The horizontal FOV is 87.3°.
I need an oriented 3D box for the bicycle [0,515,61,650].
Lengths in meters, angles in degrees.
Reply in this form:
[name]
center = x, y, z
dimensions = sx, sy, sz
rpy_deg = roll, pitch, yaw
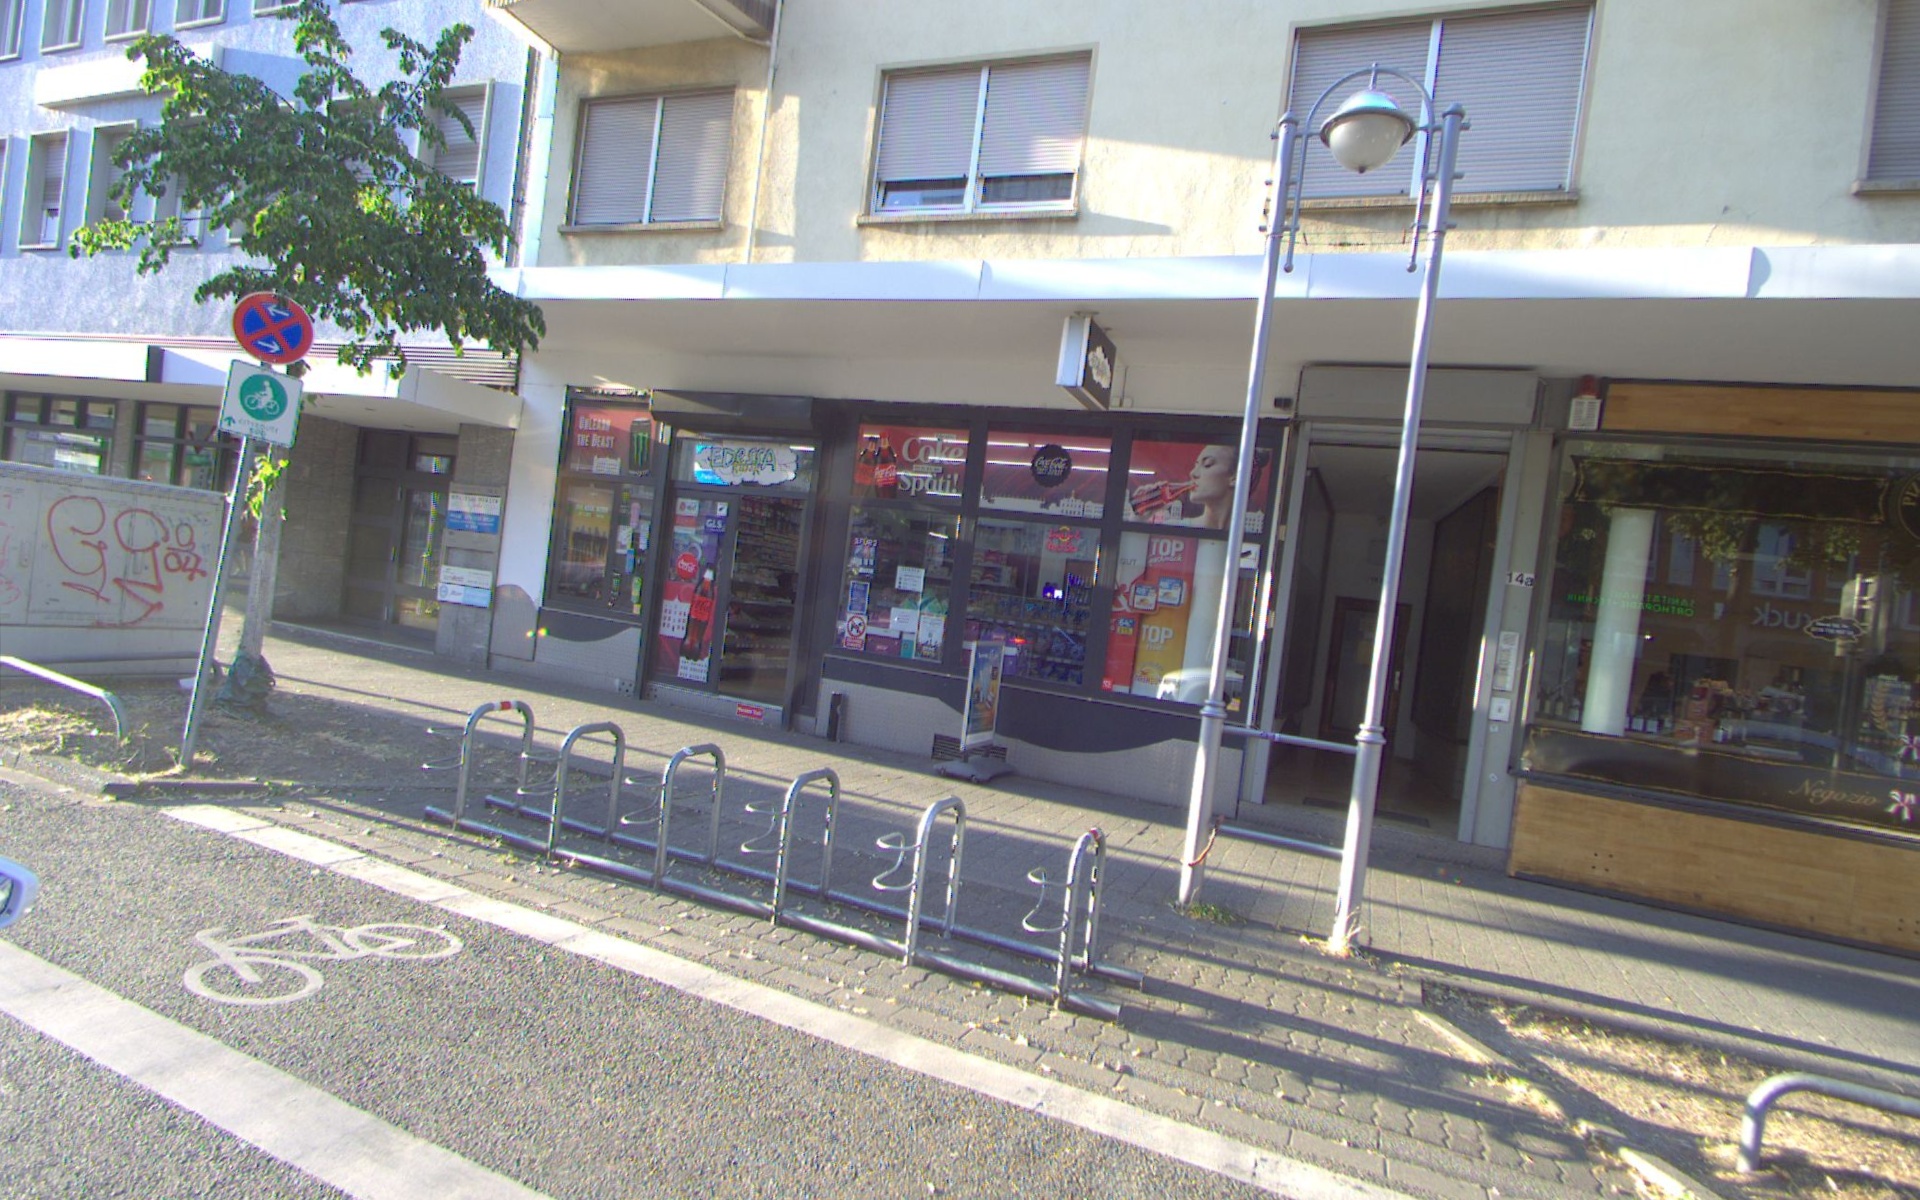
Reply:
[bicycle]
center = -9.224, -0.213, 9.132
dimensions = 0.376, 1.234, 1.446
rpy_deg = 7, -1, 25
